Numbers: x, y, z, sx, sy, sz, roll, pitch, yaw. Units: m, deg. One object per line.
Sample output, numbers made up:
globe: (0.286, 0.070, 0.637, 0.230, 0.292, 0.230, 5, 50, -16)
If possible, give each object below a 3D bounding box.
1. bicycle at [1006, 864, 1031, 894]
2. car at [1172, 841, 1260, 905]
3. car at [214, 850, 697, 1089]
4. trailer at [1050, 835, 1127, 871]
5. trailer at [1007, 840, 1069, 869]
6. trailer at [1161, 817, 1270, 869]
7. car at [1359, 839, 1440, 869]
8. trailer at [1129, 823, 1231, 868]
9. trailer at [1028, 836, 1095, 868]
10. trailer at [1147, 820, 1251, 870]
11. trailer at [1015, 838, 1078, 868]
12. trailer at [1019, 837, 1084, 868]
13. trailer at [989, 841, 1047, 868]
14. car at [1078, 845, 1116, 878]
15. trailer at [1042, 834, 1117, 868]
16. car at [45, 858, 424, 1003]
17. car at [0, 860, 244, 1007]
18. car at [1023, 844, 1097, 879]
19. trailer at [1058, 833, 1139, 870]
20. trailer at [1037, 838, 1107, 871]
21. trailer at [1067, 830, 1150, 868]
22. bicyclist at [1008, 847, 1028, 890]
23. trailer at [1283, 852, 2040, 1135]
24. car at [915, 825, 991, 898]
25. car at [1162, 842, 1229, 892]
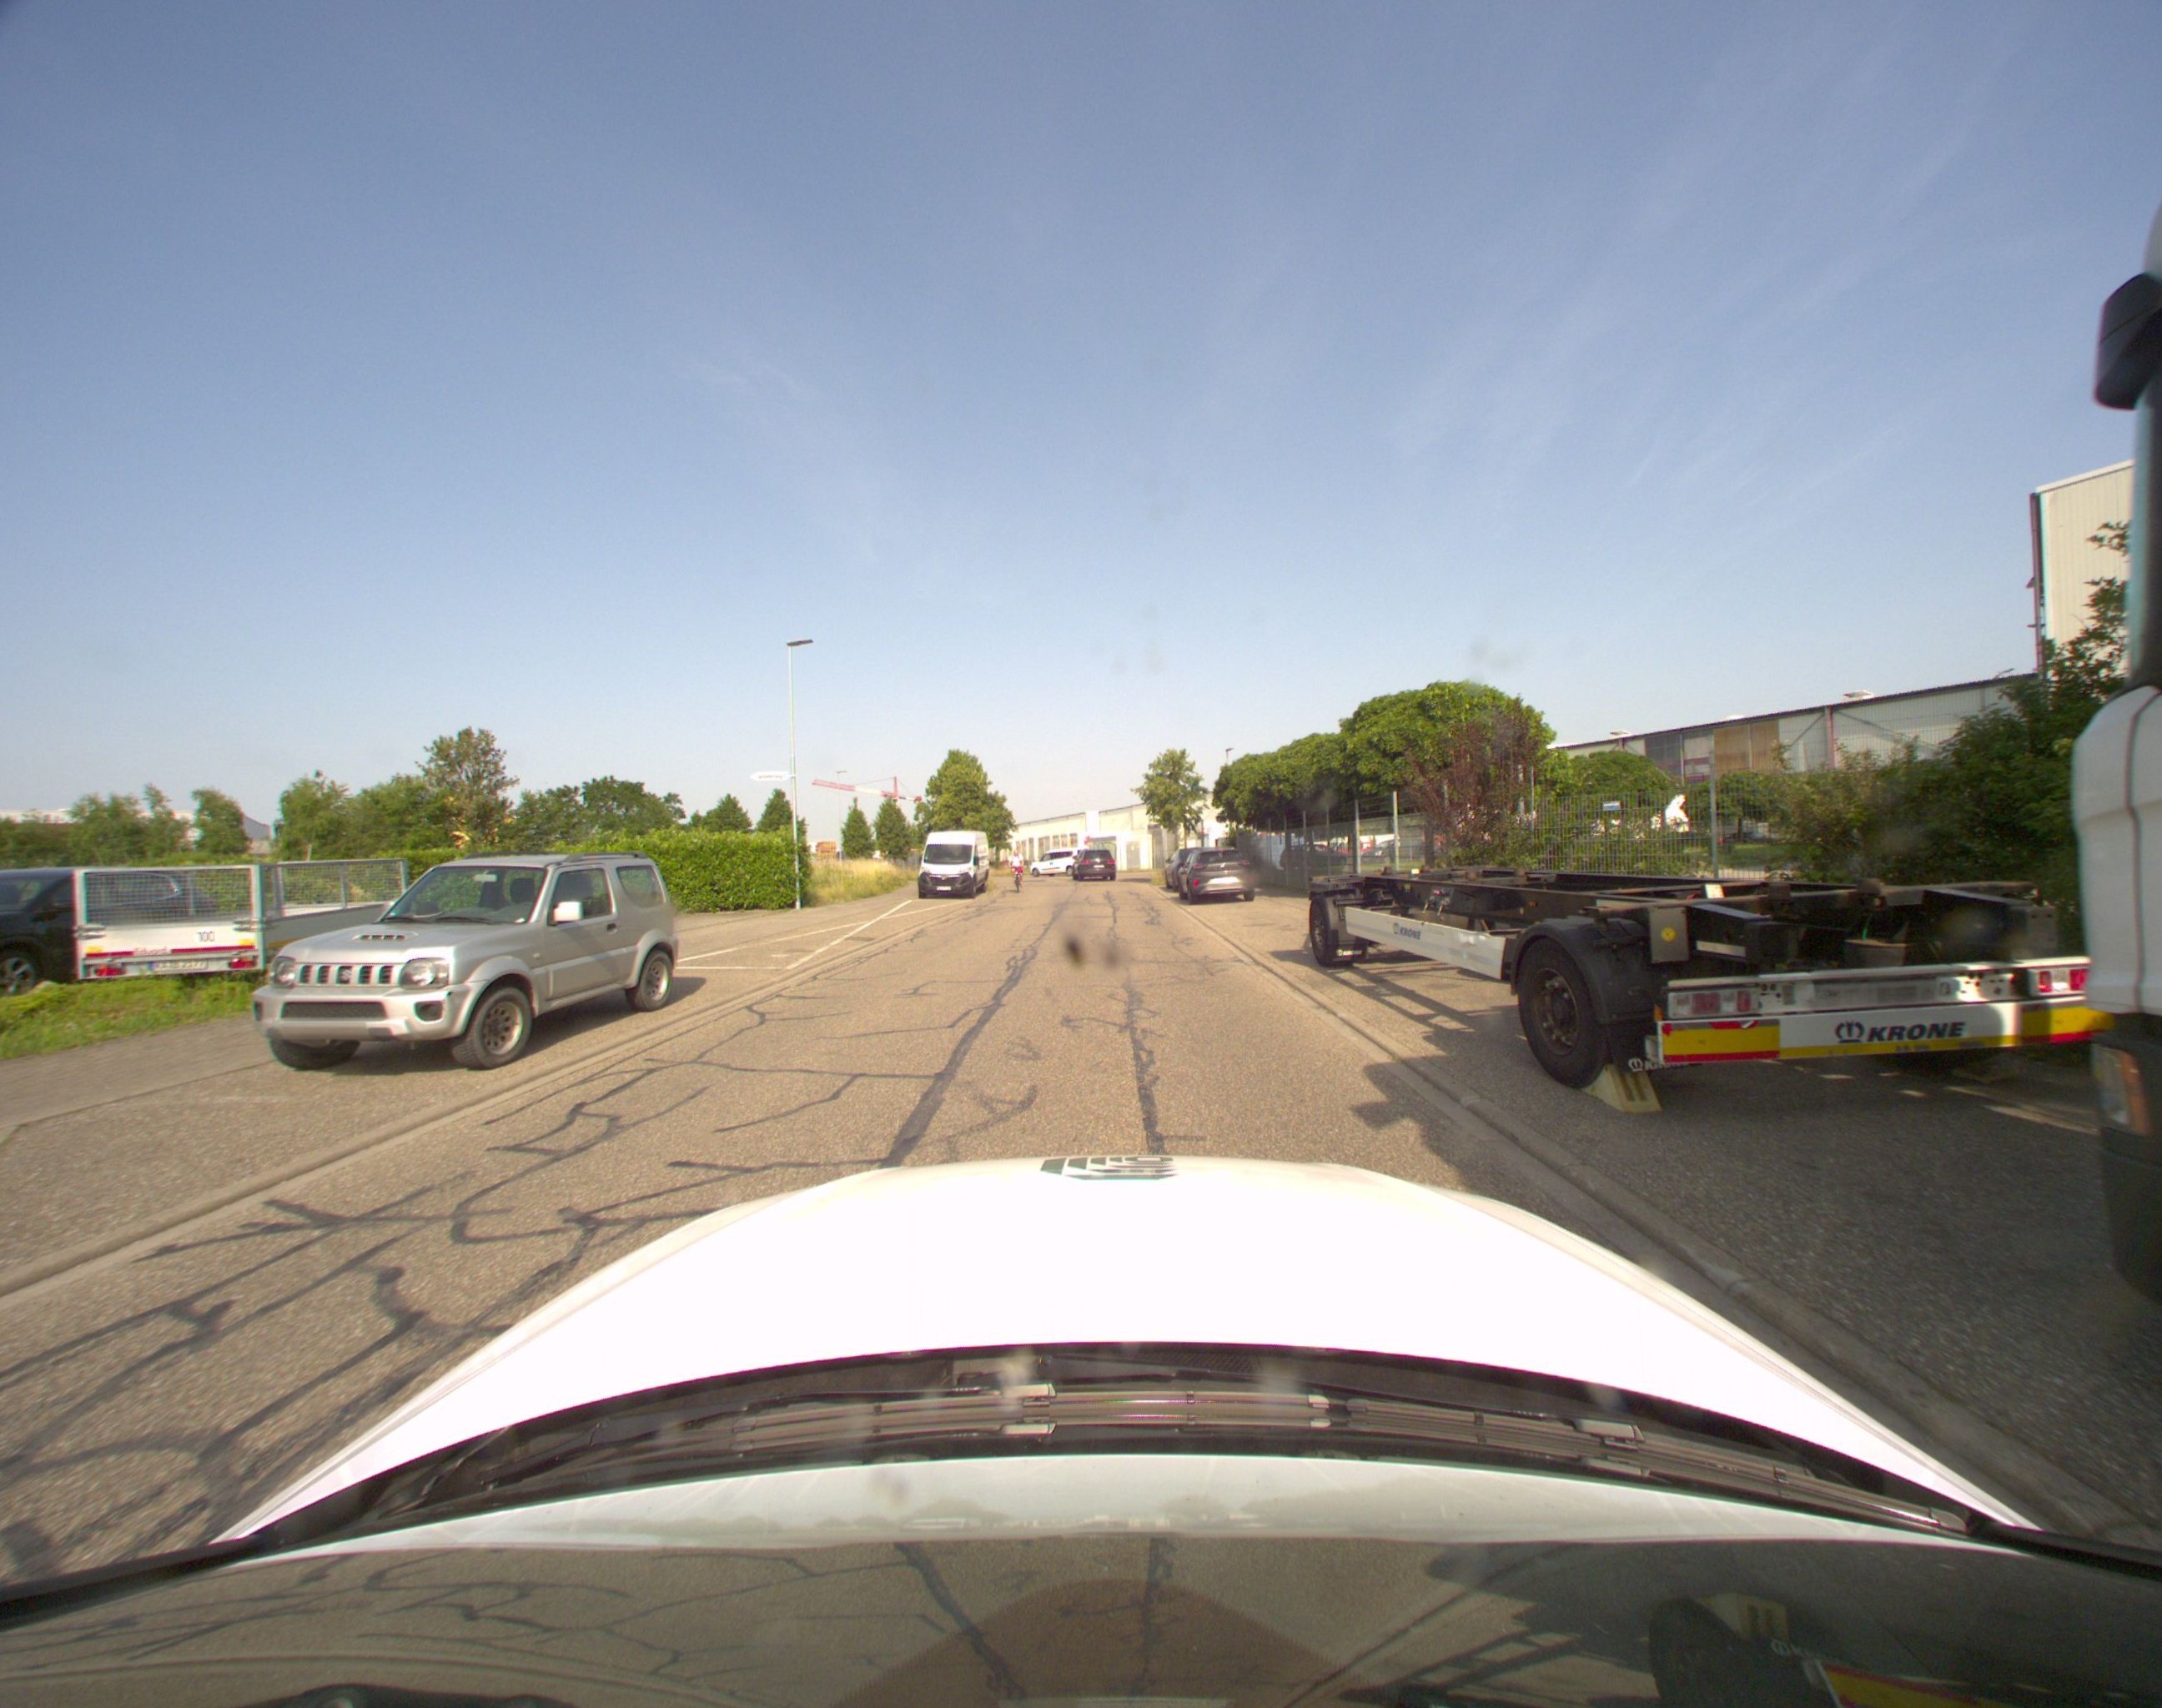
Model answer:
bicycle: (-2.571, 1.016, 33.815, 0.713, 1.122, 2.220, -4, 0, 2)
car: (3.761, 0.507, 23.355, 1.874, 1.574, 4.114, -3, -1, 1)
car: (-5.276, 0.808, 7.572, 1.591, 1.651, 3.645, 1, 0, 1)
trailer: (0.862, -0.074, 92.495, 8.342, 3.894, 2.755, 0, 0, -23)
trailer: (-5.783, 0.093, 110.410, 7.995, 3.894, 2.755, 0, 0, -23)
trailer: (11.153, -0.914, 67.608, 8.565, 3.894, 2.756, -2, -3, -20)
car: (18.776, -0.051, 48.000, 4.269, 1.625, 1.865, -2, 1, -21)
trailer: (8.904, -0.784, 73.129, 8.767, 3.761, 2.770, -1, -1, -23)
trailer: (-2.410, -0.203, 101.893, 7.995, 3.894, 2.755, 0, 0, -23)
trailer: (10.213, -0.778, 70.439, 8.568, 3.893, 2.756, -3, 0, -21)
trailer: (-4.544, -0.087, 107.518, 7.995, 3.894, 2.755, 0, 0, -23)
trailer: (-3.765, -0.136, 104.572, 7.995, 3.894, 2.755, 0, 0, -23)
trailer: (-9.225, 0.109, 119.753, 7.995, 3.894, 2.755, 0, 0, -23)
car: (0.859, 0.383, 42.873, 1.874, 1.586, 4.114, -2, -1, 1)
trailer: (-0.170, -0.327, 95.362, 8.342, 3.894, 2.755, 0, 0, -23)
car: (-10.936, 0.846, 10.995, 1.837, 1.572, 3.796, 0, 0, -15)
car: (-13.649, 0.932, 10.519, 1.994, 1.658, 4.397, -2, 0, -16)
car: (-1.454, 0.518, 54.997, 4.564, 2.110, 2.142, -3, -1, 37)
trailer: (1.984, -0.265, 89.689, 8.571, 3.894, 2.755, 0, 0, -23)
trailer: (-1.096, 0.034, 99.231, 8.066, 3.894, 2.755, 0, 0, -23)
trailer: (2.969, -0.490, 86.752, 8.571, 3.894, 2.755, 0, 0, -23)
bicyclist: (-2.591, 0.598, 33.820, 0.637, 1.719, 1.166, -2, 0, 1)
trailer: (3.745, 0.669, 7.684, 1.931, 1.235, 7.453, -4, 0, 1)
car: (-4.928, 0.273, 32.269, 2.096, 2.595, 6.500, 0, 0, -1)
car: (4.166, 0.466, 30.370, 1.874, 1.574, 5.120, -4, -1, 2)
